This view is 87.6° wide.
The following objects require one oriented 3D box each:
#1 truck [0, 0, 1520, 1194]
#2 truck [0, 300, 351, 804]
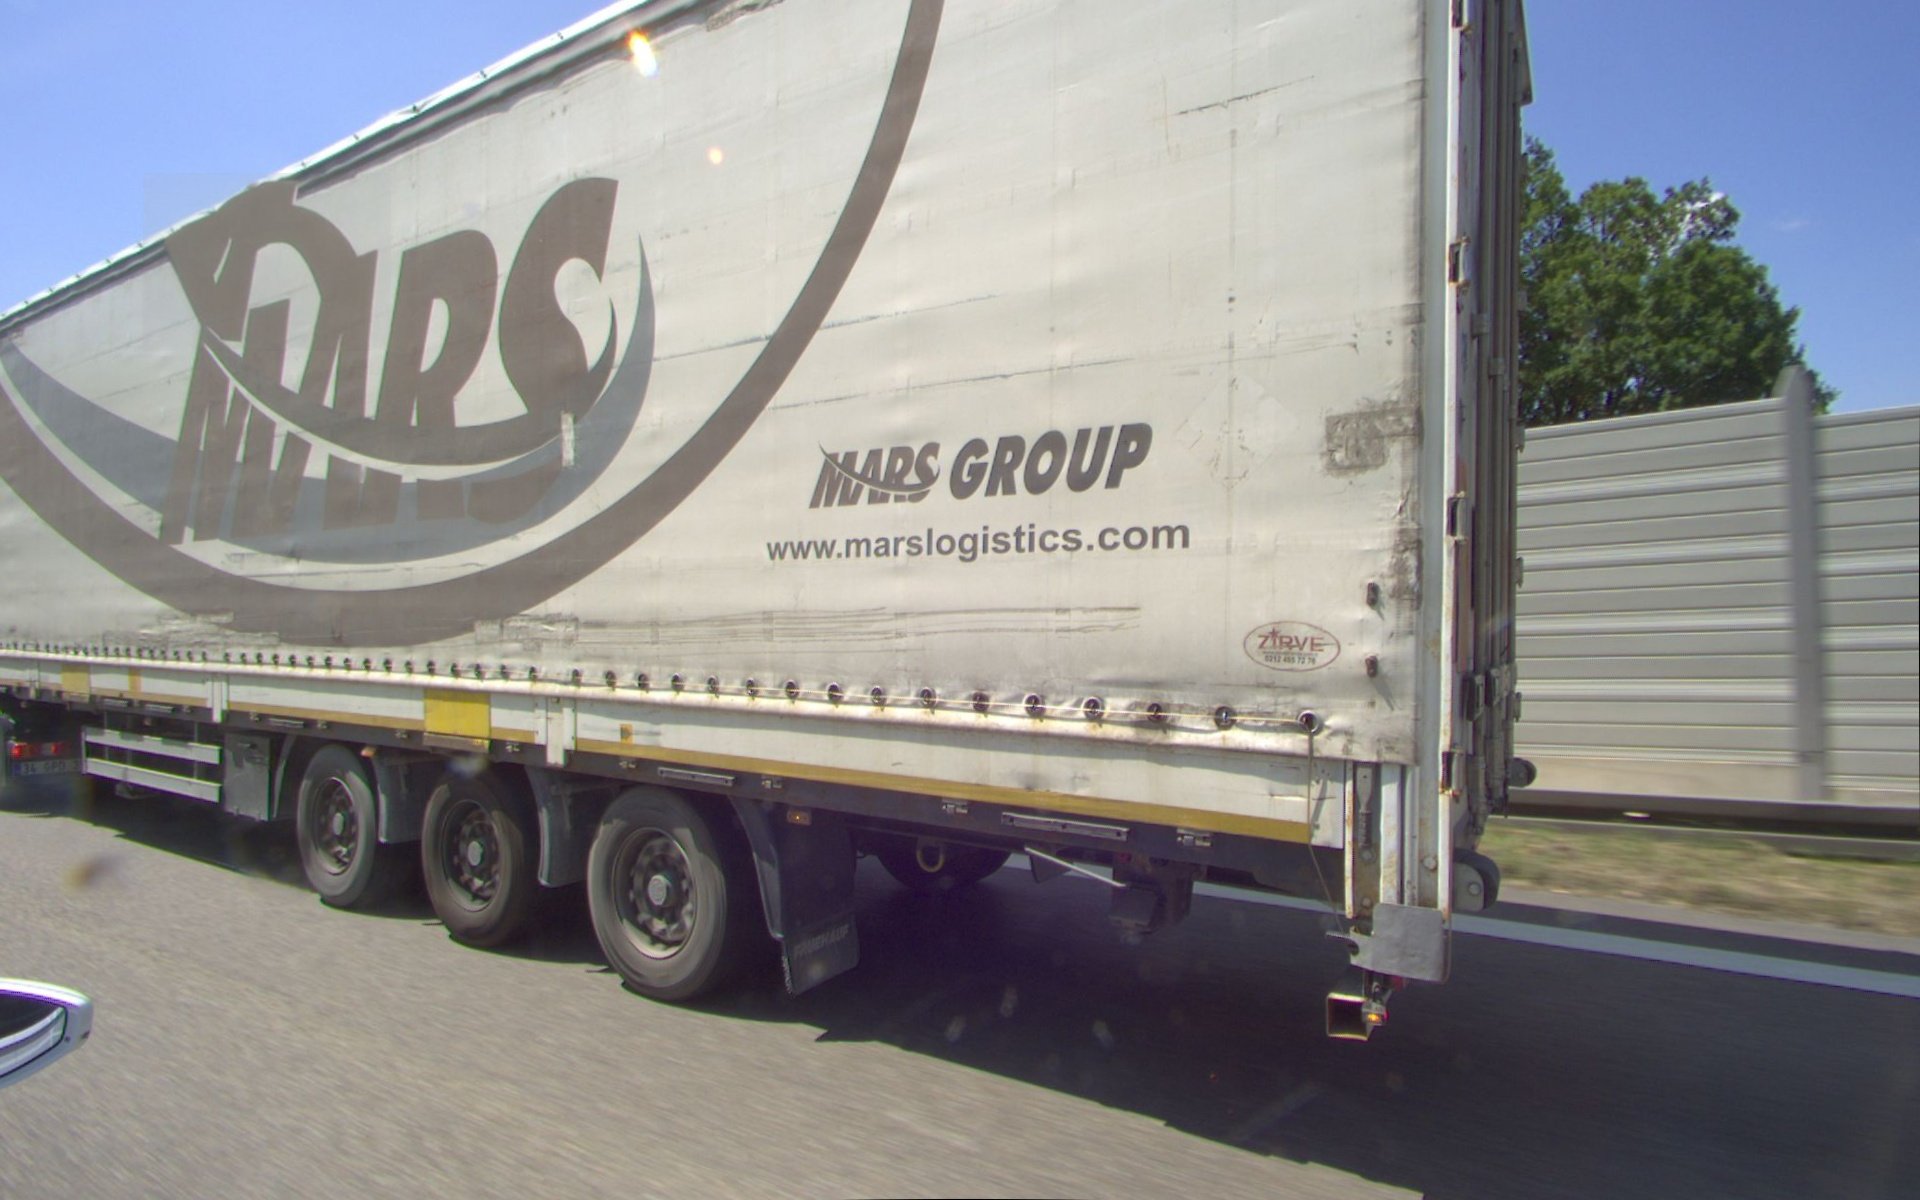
[{"bbox_3d":[-3.838,-0.469,7.190,13.550,4.119,2.721,-2,-2,33],"label":"truck"},{"bbox_3d":[-9.474,-0.281,10.875,5.674,4.119,2.714,-2,-2,33],"label":"truck"}]
